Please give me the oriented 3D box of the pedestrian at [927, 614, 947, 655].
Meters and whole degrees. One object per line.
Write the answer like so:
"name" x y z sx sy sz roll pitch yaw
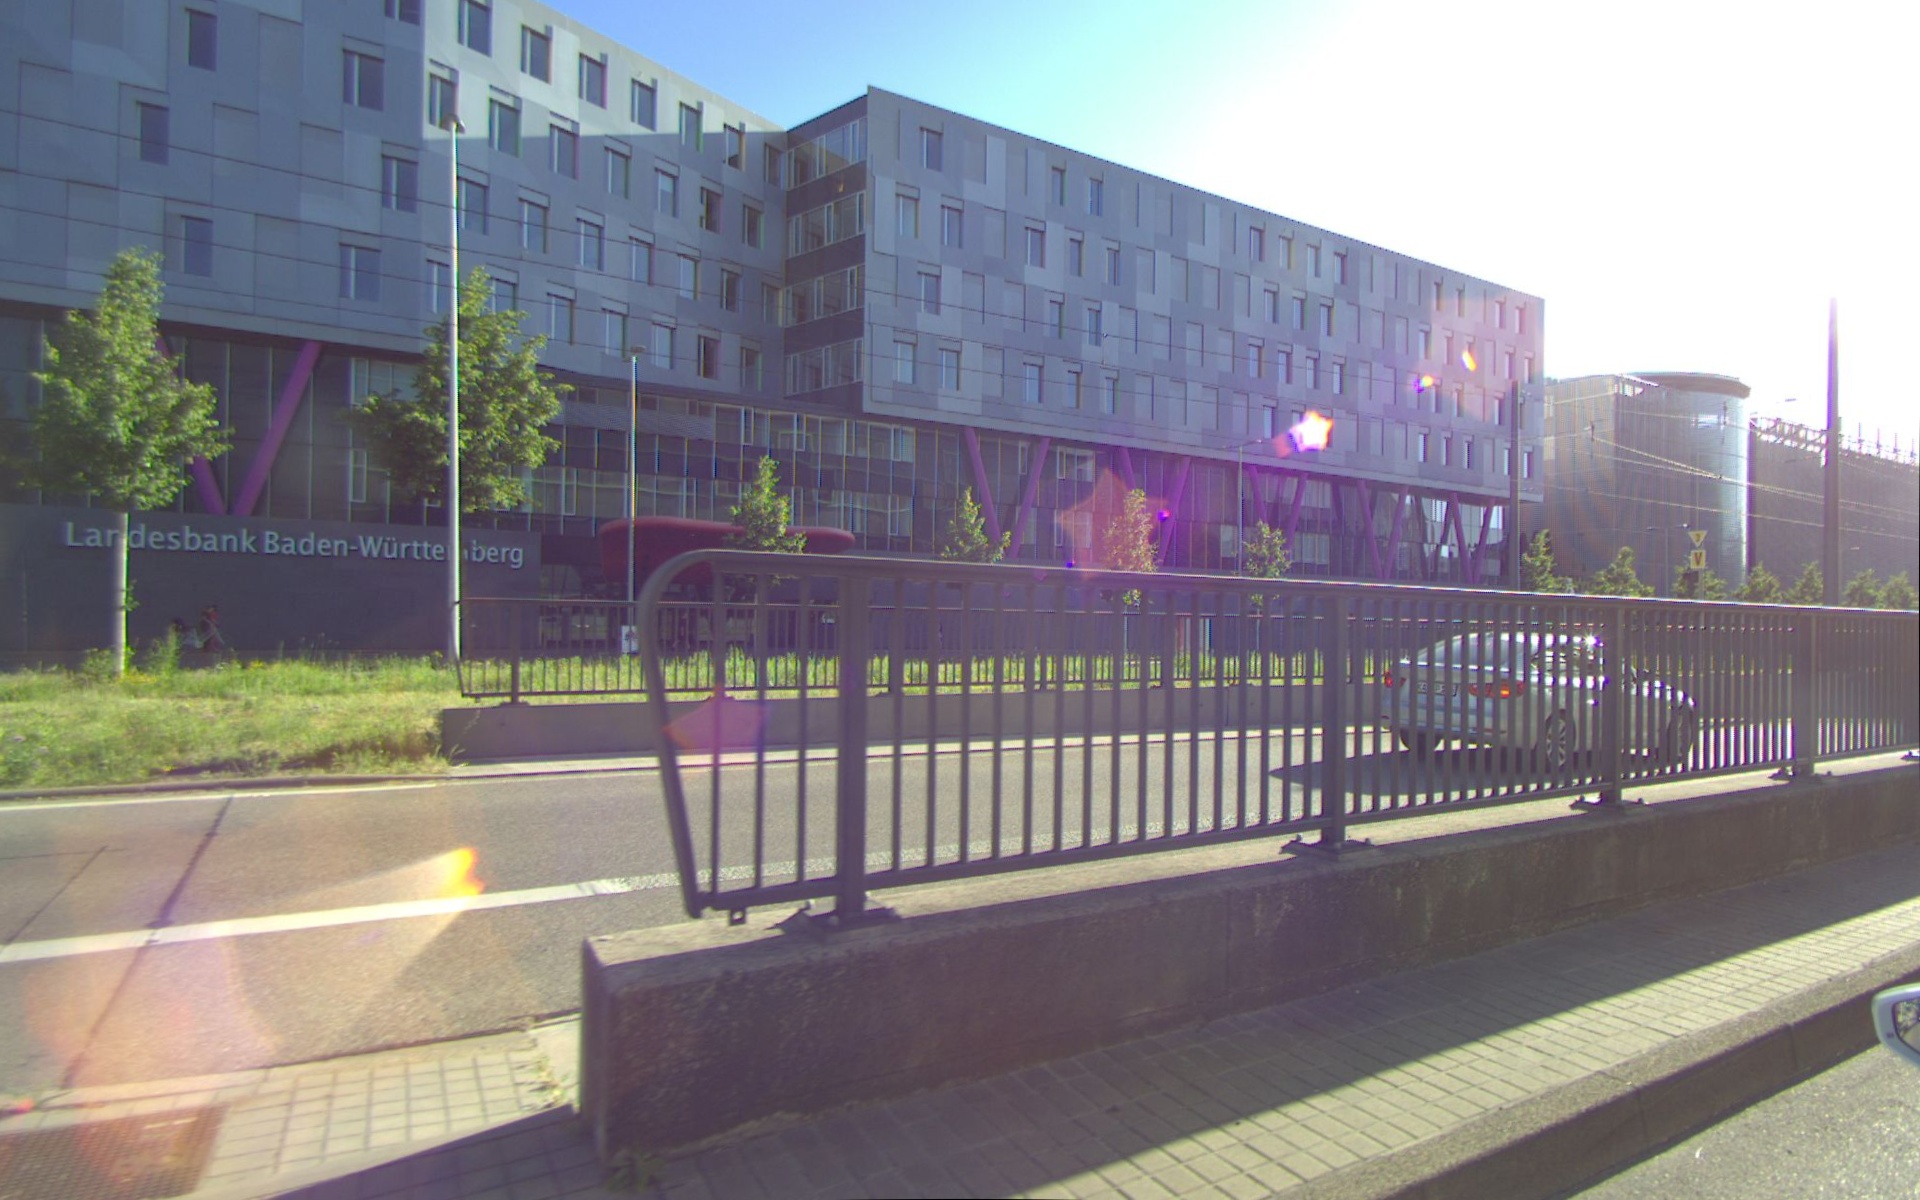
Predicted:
"pedestrian" -1.168 1.750 50.971 0.681 2.040 0.733 1 -1 -29

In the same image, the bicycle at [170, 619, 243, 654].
"bicycle" -26.352 1.289 35.159 1.952 1.188 0.517 1 -1 -30

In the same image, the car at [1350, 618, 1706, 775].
"car" 7.121 1.061 12.412 4.858 1.547 1.788 1 1 -33

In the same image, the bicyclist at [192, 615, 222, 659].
"bicyclist" -26.349 1.289 35.162 0.754 1.515 0.556 1 -1 -30
